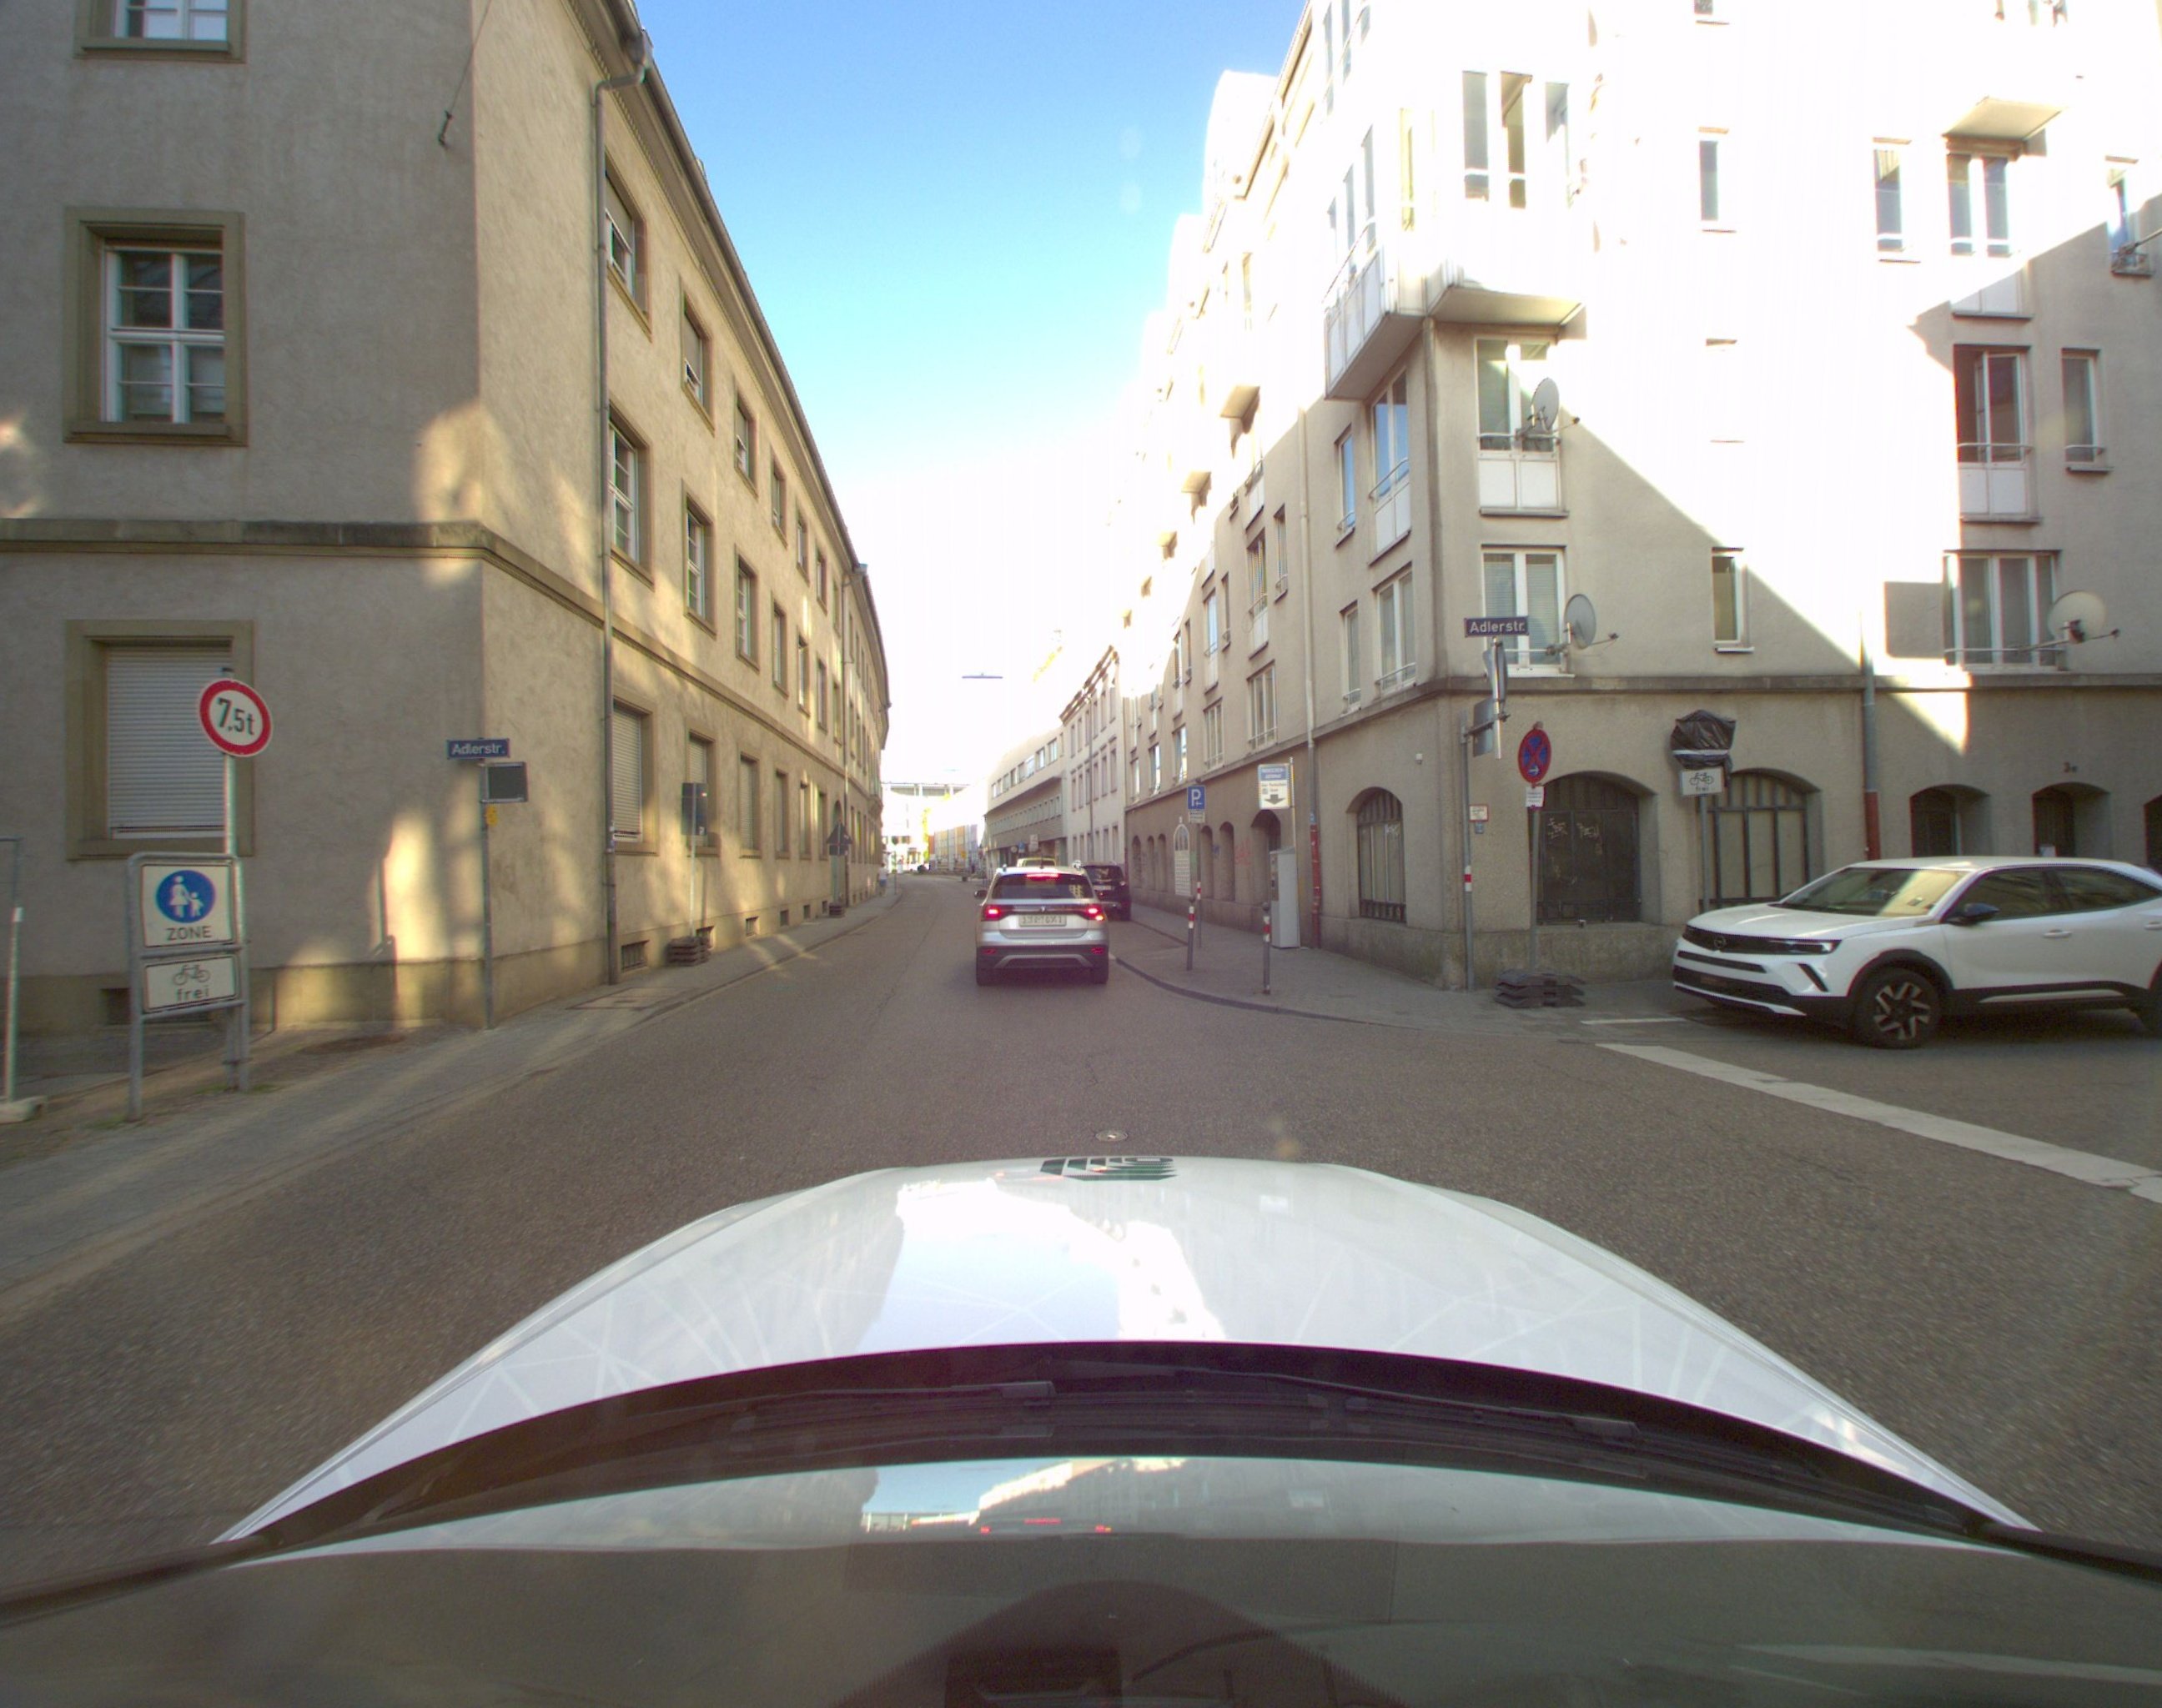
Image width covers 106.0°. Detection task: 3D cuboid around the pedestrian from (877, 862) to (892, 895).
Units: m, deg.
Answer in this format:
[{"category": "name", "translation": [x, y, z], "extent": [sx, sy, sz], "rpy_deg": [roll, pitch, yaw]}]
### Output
[{"category": "pedestrian", "translation": [-10.091, 1.246, 41.827], "extent": [0.693, 1.670, 0.871], "rpy_deg": [1, -2, -12]}]

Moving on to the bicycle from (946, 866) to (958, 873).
[{"category": "bicycle", "translation": [-20.482, 2.450, 129.352], "extent": [1.815, 1.137, 0.548], "rpy_deg": [-2, -1, -18]}]

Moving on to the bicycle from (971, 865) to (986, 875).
[{"category": "bicycle", "translation": [-12.742, 1.988, 101.239], "extent": [1.649, 1.141, 0.281], "rpy_deg": [-5, 1, -25]}]

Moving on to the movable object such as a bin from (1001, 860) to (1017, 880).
[{"category": "movable object such as a bin", "translation": [-5.748, 1.247, 64.759], "extent": [0.982, 1.480, 1.544], "rpy_deg": [-3, -3, -14]}]

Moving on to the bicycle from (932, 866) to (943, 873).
[{"category": "bicycle", "translation": [-25.092, 2.724, 142.618], "extent": [1.760, 1.004, 0.609], "rpy_deg": [-3, -1, -21]}]

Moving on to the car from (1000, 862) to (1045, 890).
[{"category": "car", "translation": [-3.379, 1.226, 46.202], "extent": [1.885, 1.489, 4.348], "rpy_deg": [0, -1, -13]}]

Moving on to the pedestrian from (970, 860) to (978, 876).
[{"category": "pedestrian", "translation": [-12.295, 1.587, 93.732], "extent": [0.698, 1.760, 1.182], "rpy_deg": [-4, 0, -16]}]

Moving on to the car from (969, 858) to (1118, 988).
[{"category": "car", "translation": [-0.630, 0.857, 11.991], "extent": [1.822, 1.559, 3.978], "rpy_deg": [0, -1, -5]}]

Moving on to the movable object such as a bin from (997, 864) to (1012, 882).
[{"category": "movable object such as a bin", "translation": [-6.224, 1.520, 66.305], "extent": [0.982, 1.385, 1.314], "rpy_deg": [-3, -3, -14]}]

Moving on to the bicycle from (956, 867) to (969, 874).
[{"category": "bicycle", "translation": [-16.569, 2.292, 113.838], "extent": [1.752, 0.946, 0.549], "rpy_deg": [-2, -1, -17]}]

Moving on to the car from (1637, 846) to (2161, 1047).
[{"category": "car", "translation": [7.728, 0.746, 7.495], "extent": [4.058, 1.568, 1.766], "rpy_deg": [-1, -1, -2]}]

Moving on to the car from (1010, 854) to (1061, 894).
[{"category": "car", "translation": [-2.344, 0.976, 40.762], "extent": [1.884, 1.882, 4.827], "rpy_deg": [0, -1, -11]}]

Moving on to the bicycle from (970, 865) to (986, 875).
[{"category": "bicycle", "translation": [-12.593, 1.983, 99.819], "extent": [1.752, 1.141, 0.549], "rpy_deg": [-4, 1, -17]}]

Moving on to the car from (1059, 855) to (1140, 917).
[{"category": "car", "translation": [0.437, 0.887, 24.268], "extent": [1.823, 1.654, 4.483], "rpy_deg": [0, -1, -7]}]

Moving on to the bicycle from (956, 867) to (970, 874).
[{"category": "bicycle", "translation": [-16.382, 2.277, 113.144], "extent": [1.752, 0.946, 0.549], "rpy_deg": [-2, -1, -17]}]
